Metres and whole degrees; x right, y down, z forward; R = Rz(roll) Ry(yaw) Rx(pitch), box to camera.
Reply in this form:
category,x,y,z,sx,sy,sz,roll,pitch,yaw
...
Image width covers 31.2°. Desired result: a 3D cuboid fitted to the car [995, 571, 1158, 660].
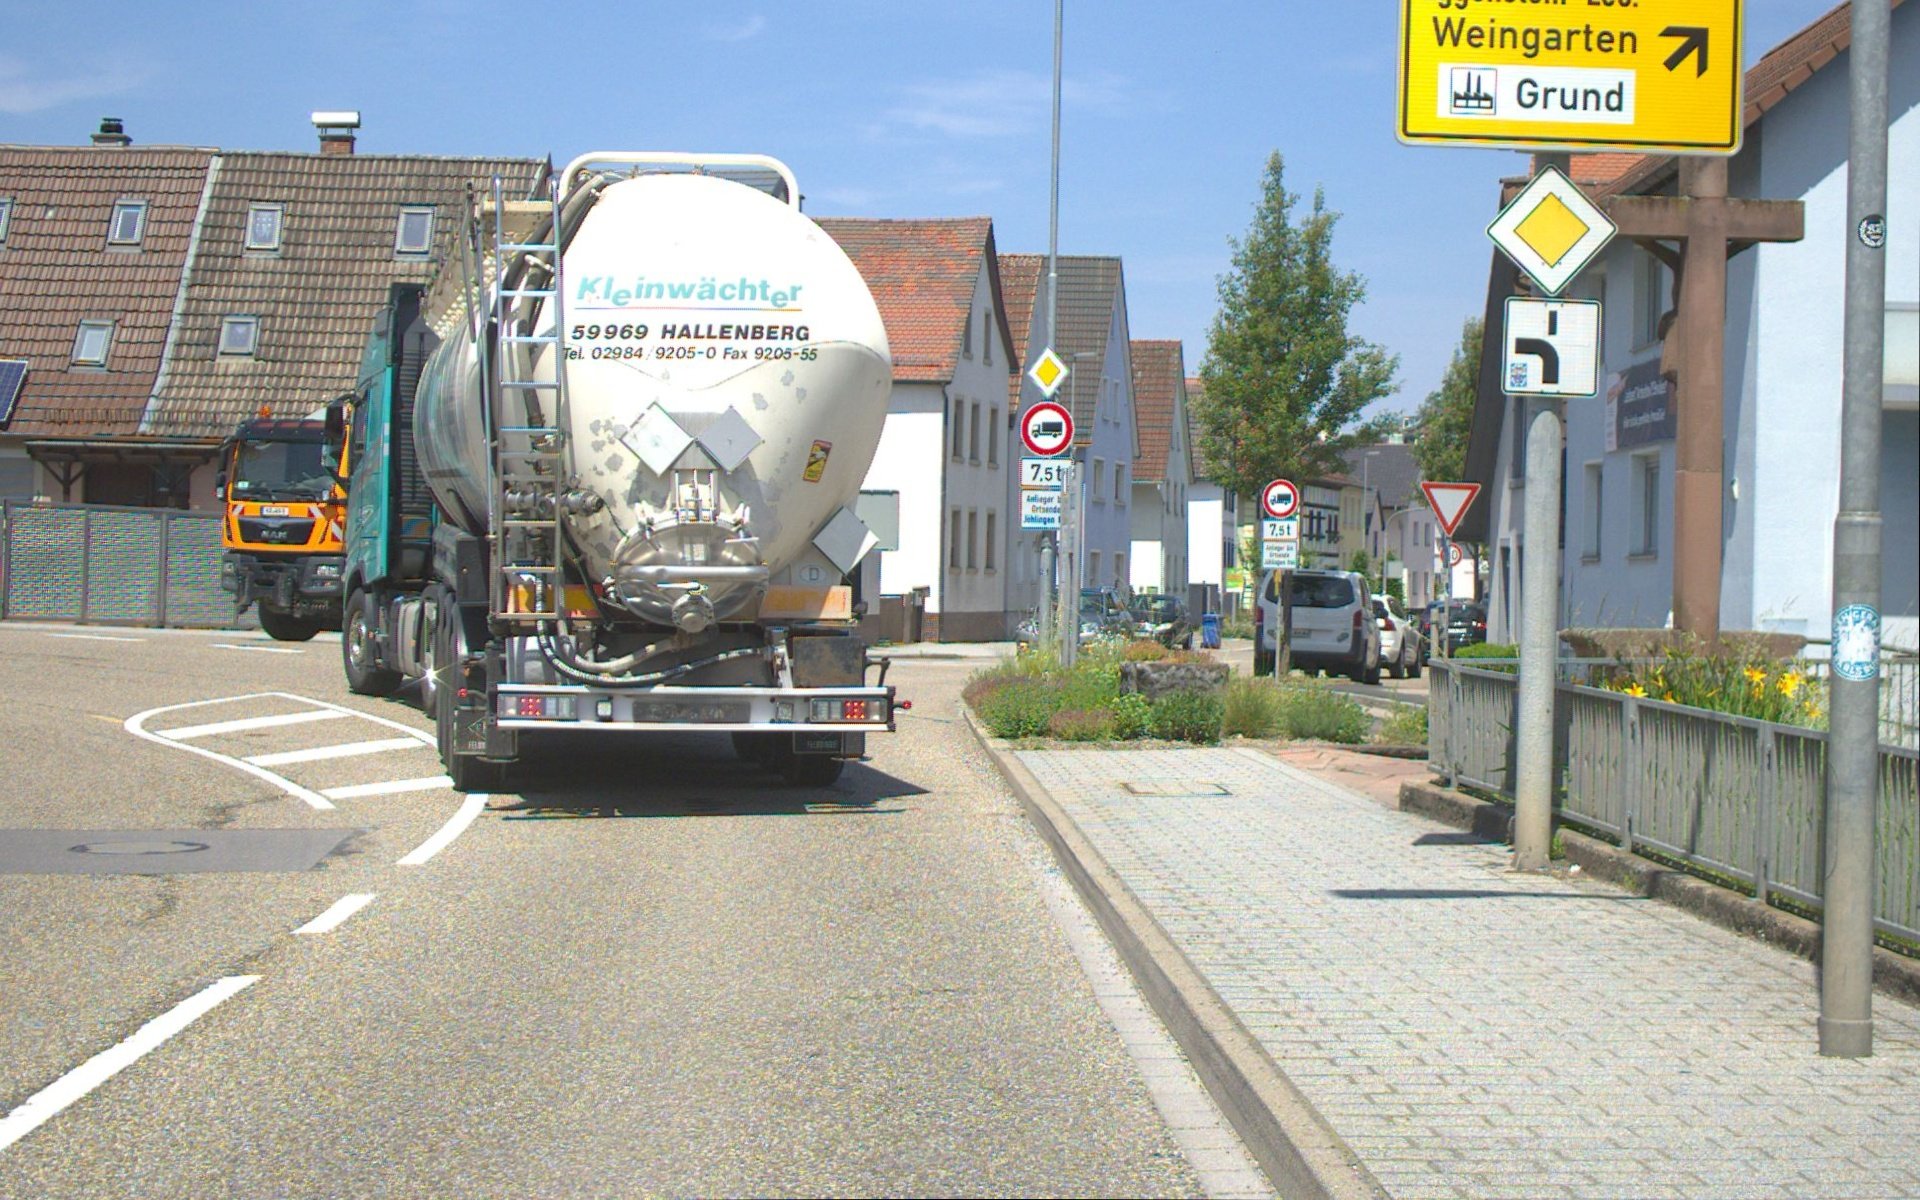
category,x,y,z,sx,sy,sz,roll,pitch,yaw
car,2.484,0.342,72.132,1.996,1.669,4.307,2,-1,22

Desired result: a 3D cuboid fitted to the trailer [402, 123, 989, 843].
category,x,y,z,sx,sy,sz,roll,pitch,yaw
trailer,-2.401,-0.709,25.141,2.952,3.934,11.622,2,0,-10

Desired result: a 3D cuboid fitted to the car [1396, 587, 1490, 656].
category,x,y,z,sx,sy,sz,roll,pitch,yaw
car,11.922,0.521,84.709,1.994,1.579,3.998,2,1,11

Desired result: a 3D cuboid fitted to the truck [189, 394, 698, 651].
category,x,y,z,sx,sy,sz,roll,pitch,yaw
truck,-7.122,-0.991,48.561,2.666,3.170,7.447,1,-1,34

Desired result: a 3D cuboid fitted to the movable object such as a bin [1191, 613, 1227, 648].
category,x,y,z,sx,sy,sz,roll,pitch,yaw
movable object such as a bin,7.713,0.936,106.388,0.920,1.045,0.943,2,0,14

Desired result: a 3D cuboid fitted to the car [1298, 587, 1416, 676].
category,x,y,z,sx,sy,sz,roll,pitch,yaw
car,7.751,0.587,66.841,1.818,1.629,4.205,2,0,13

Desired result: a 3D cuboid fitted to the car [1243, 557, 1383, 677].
category,x,y,z,sx,sy,sz,roll,pitch,yaw
car,6.170,0.327,59.711,1.994,1.906,4.322,2,-1,11

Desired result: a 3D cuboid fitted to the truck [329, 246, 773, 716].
category,x,y,z,sx,sy,sz,roll,pitch,yaw
truck,-4.001,-1.048,32.428,2.987,3.951,5.580,2,0,-18

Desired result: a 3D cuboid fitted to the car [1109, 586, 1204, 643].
category,x,y,z,sx,sy,sz,roll,pitch,yaw
car,5.817,0.432,101.402,1.719,1.590,3.996,2,0,19
